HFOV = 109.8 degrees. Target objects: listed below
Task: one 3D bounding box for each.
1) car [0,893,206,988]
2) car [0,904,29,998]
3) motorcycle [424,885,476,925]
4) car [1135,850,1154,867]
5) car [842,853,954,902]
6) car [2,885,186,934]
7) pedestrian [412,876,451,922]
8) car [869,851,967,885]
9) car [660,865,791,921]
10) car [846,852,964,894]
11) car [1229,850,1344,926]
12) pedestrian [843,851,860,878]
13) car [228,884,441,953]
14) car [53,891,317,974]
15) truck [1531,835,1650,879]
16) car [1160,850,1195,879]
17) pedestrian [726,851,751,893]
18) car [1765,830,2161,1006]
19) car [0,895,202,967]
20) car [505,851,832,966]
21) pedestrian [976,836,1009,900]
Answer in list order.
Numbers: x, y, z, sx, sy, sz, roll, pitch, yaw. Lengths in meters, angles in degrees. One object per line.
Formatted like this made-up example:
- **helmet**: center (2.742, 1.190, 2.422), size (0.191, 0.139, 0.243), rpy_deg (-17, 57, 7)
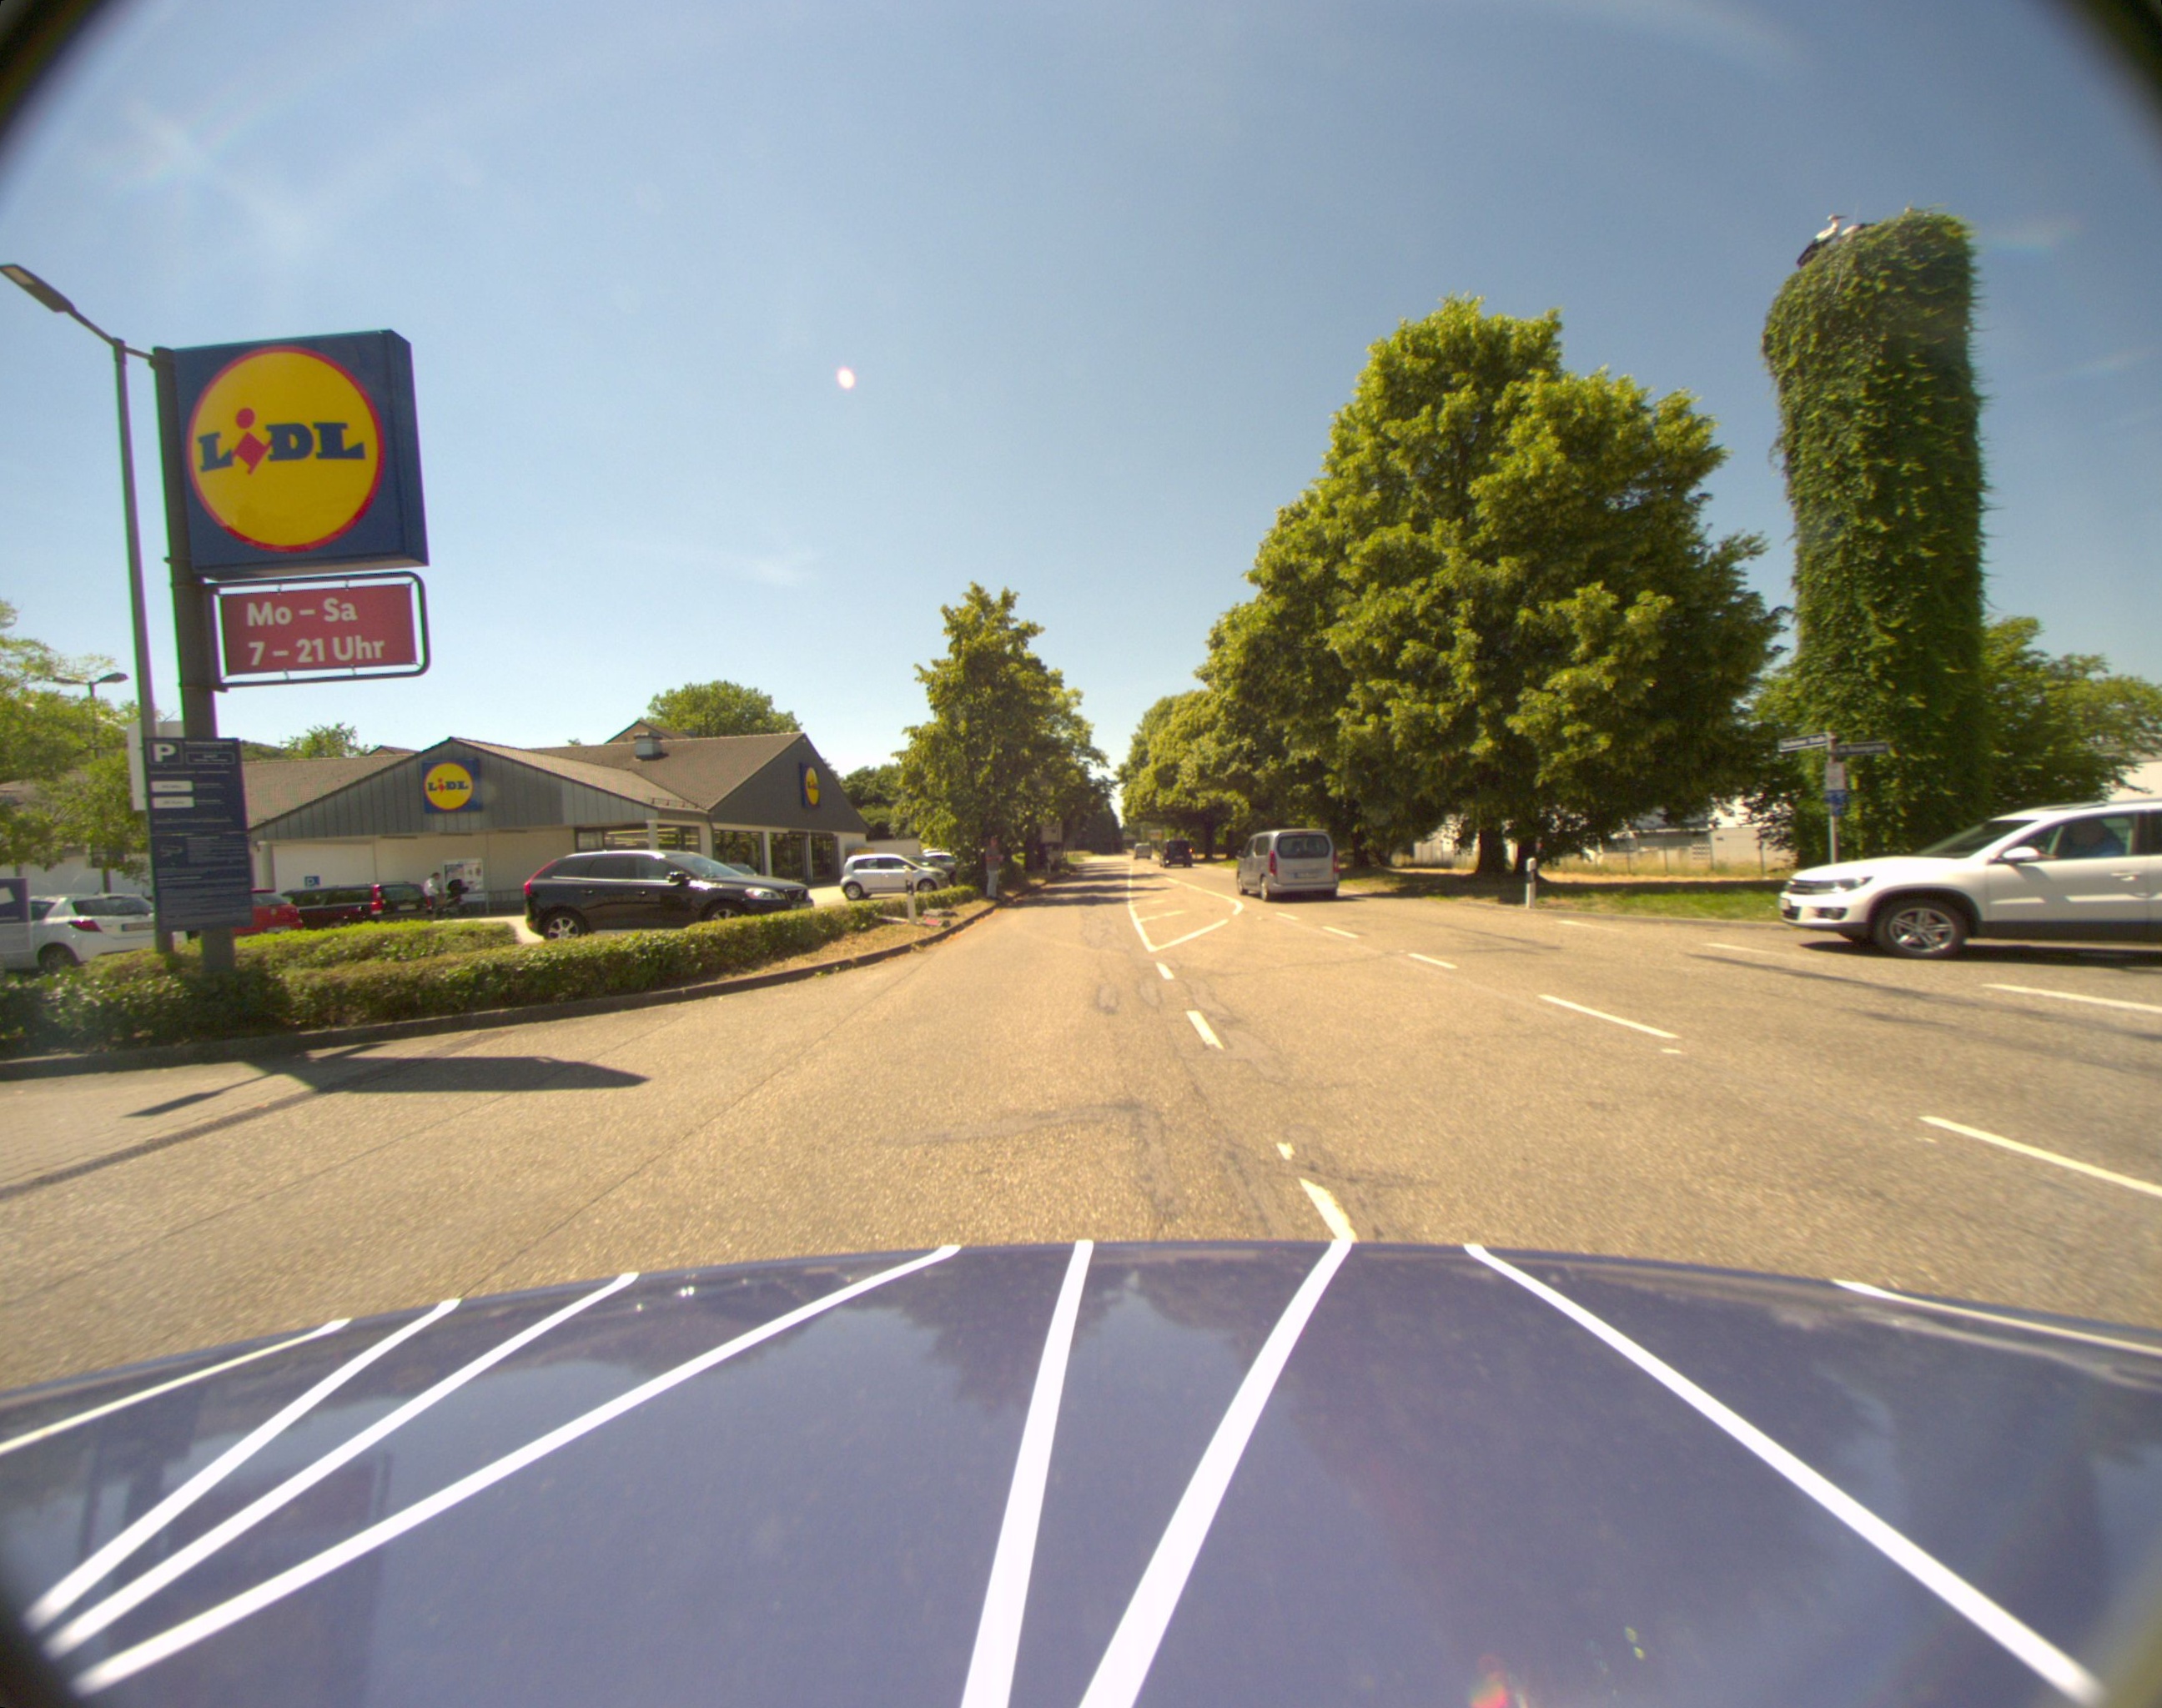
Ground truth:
- **car**: center (-19.309, 1.615, 14.199), size (3.732, 1.495, 1.818), rpy_deg (-3, 0, 0)
- **car**: center (-19.255, 1.669, 11.567), size (4.028, 1.468, 1.728), rpy_deg (-3, 1, 1)
- **motorcycle**: center (-22.878, 1.860, 27.558), size (1.477, 1.363, 0.388), rpy_deg (-2, 1, 0)
- **car**: center (7.423, 0.497, 89.164), size (1.882, 1.823, 5.299), rpy_deg (-2, 0, 1)
- **car**: center (-6.120, 0.781, 25.689), size (3.407, 1.497, 1.582), rpy_deg (-2, 0, -2)
- **car**: center (-38.229, 2.104, 29.628), size (1.999, 1.543, 3.998), rpy_deg (-2, 0, -4)
- **pedestrian**: center (-22.887, 1.566, 26.768), size (0.803, 1.543, 0.558), rpy_deg (-2, 1, -1)
- **car**: center (-7.653, 0.651, 36.029), size (4.242, 1.403, 1.953), rpy_deg (-3, 0, -3)
- **car**: center (-10.983, 1.203, 23.378), size (4.289, 1.495, 1.749), rpy_deg (-3, 0, 37)
- **car**: center (-6.996, 0.741, 30.534), size (4.322, 1.472, 1.809), rpy_deg (-2, 0, -3)
- **car**: center (5.360, 0.805, 20.391), size (1.800, 1.762, 4.363), rpy_deg (-2, 0, -1)
- **pedestrian**: center (-15.084, 0.709, 49.983), size (0.762, 1.731, 0.698), rpy_deg (-2, 1, 3)
- **car**: center (-18.660, 1.592, 19.110), size (3.605, 1.408, 1.671), rpy_deg (-3, 0, 0)
- **car**: center (-19.359, 1.669, 16.551), size (3.605, 1.449, 1.746), rpy_deg (-3, 0, 0)
- **truck**: center (36.587, 0.195, 55.157), size (2.691, 2.780, 10.163), rpy_deg (-3, 0, 6)
- **car**: center (6.167, 0.659, 48.965), size (1.827, 1.771, 4.782), rpy_deg (-1, 0, 2)
- **pedestrian**: center (-14.605, 0.774, 32.428), size (0.699, 1.743, 0.784), rpy_deg (-2, 1, -5)
- **car**: center (10.465, 0.608, 8.230), size (4.237, 1.663, 1.979), rpy_deg (-2, 0, 32)
- **car**: center (-24.425, 1.873, 18.647), size (3.605, 1.495, 1.746), rpy_deg (-2, 0, 0)
- **car**: center (-6.884, 0.869, 12.992), size (4.524, 1.658, 1.895), rpy_deg (-2, 0, 4)
- **pedestrian**: center (-2.512, 0.393, 21.567), size (0.730, 1.779, 0.621), rpy_deg (-2, 1, 9)
